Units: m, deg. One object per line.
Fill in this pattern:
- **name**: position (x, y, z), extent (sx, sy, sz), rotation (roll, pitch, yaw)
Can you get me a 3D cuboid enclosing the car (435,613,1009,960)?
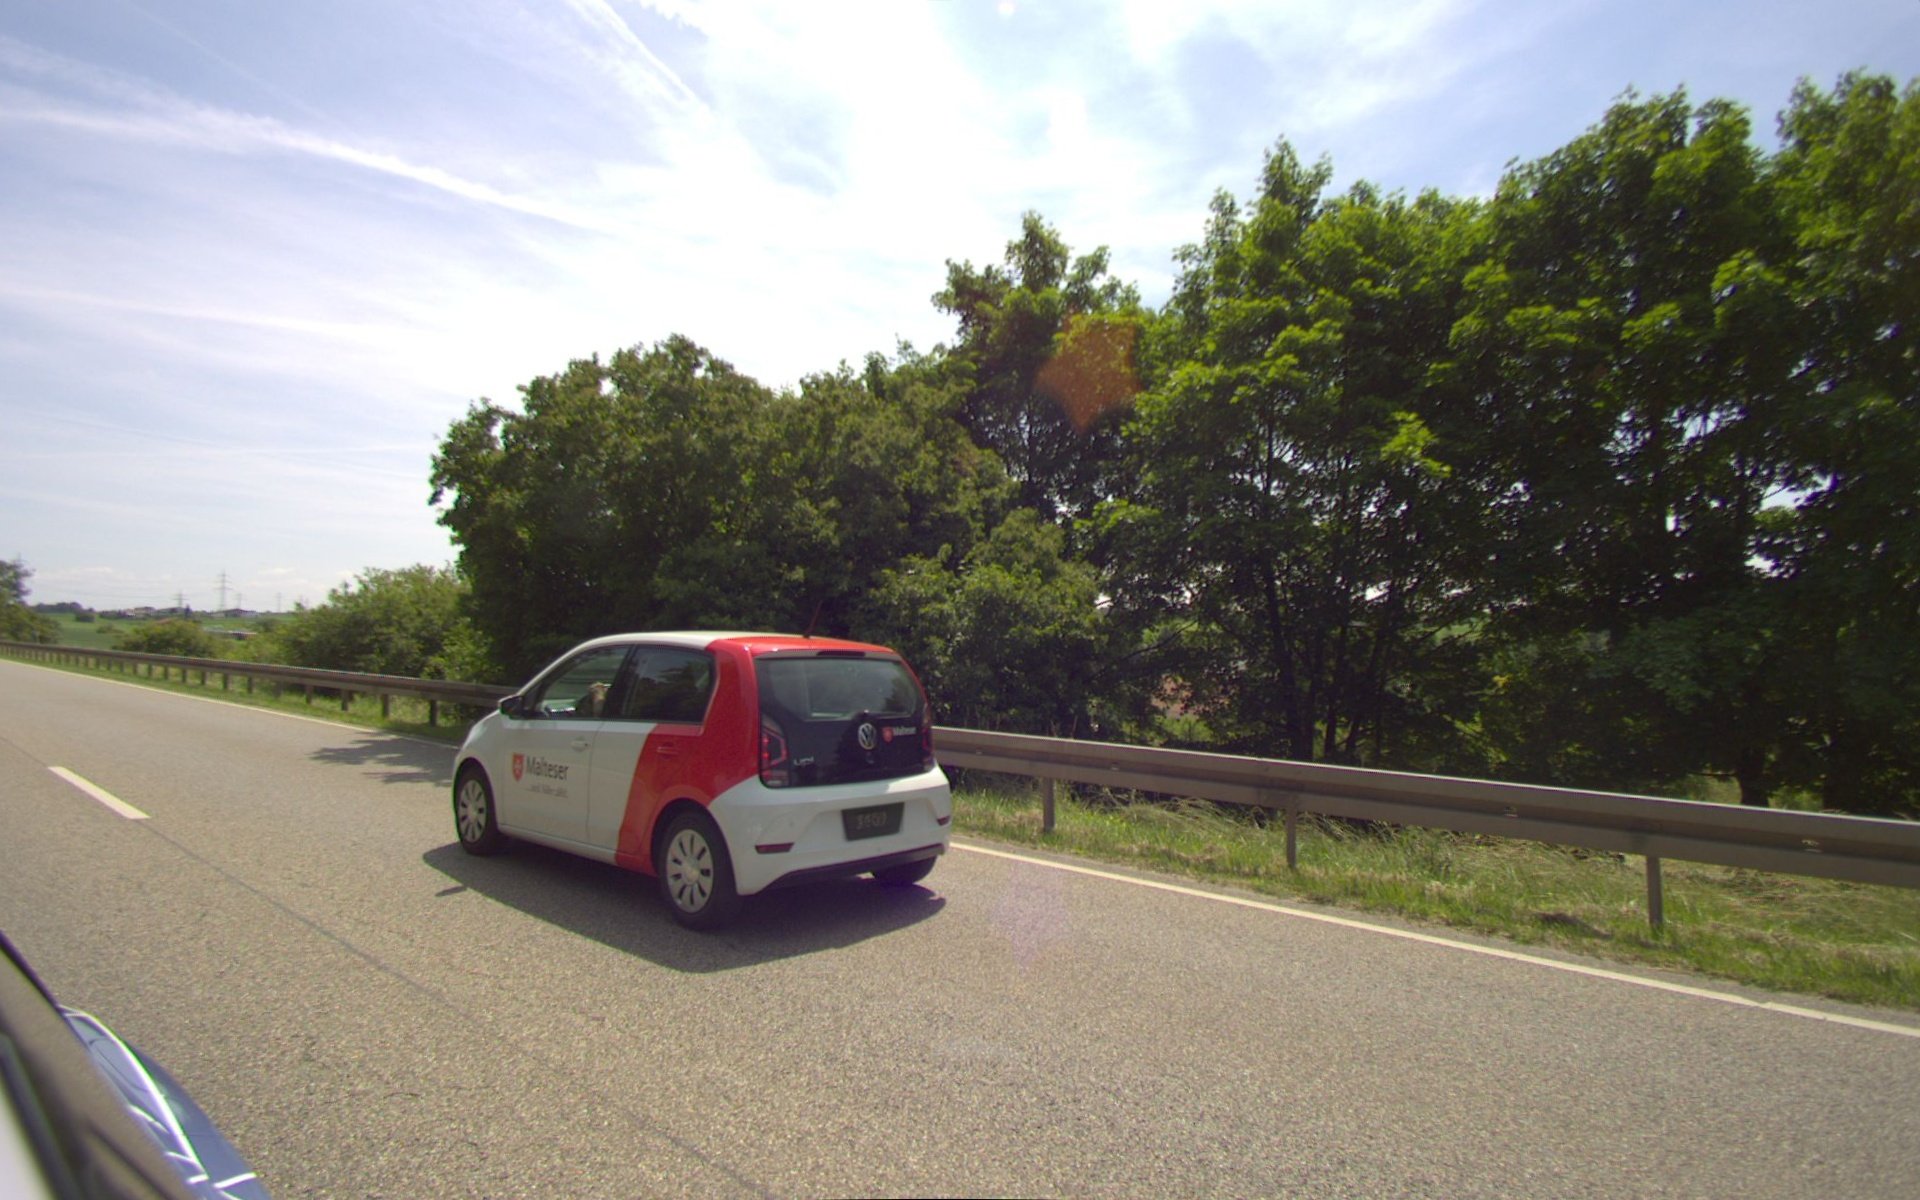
- **car**: position (-1.584, 0.873, 6.087), extent (3.547, 1.474, 1.541), rotation (-1, -5, 41)
